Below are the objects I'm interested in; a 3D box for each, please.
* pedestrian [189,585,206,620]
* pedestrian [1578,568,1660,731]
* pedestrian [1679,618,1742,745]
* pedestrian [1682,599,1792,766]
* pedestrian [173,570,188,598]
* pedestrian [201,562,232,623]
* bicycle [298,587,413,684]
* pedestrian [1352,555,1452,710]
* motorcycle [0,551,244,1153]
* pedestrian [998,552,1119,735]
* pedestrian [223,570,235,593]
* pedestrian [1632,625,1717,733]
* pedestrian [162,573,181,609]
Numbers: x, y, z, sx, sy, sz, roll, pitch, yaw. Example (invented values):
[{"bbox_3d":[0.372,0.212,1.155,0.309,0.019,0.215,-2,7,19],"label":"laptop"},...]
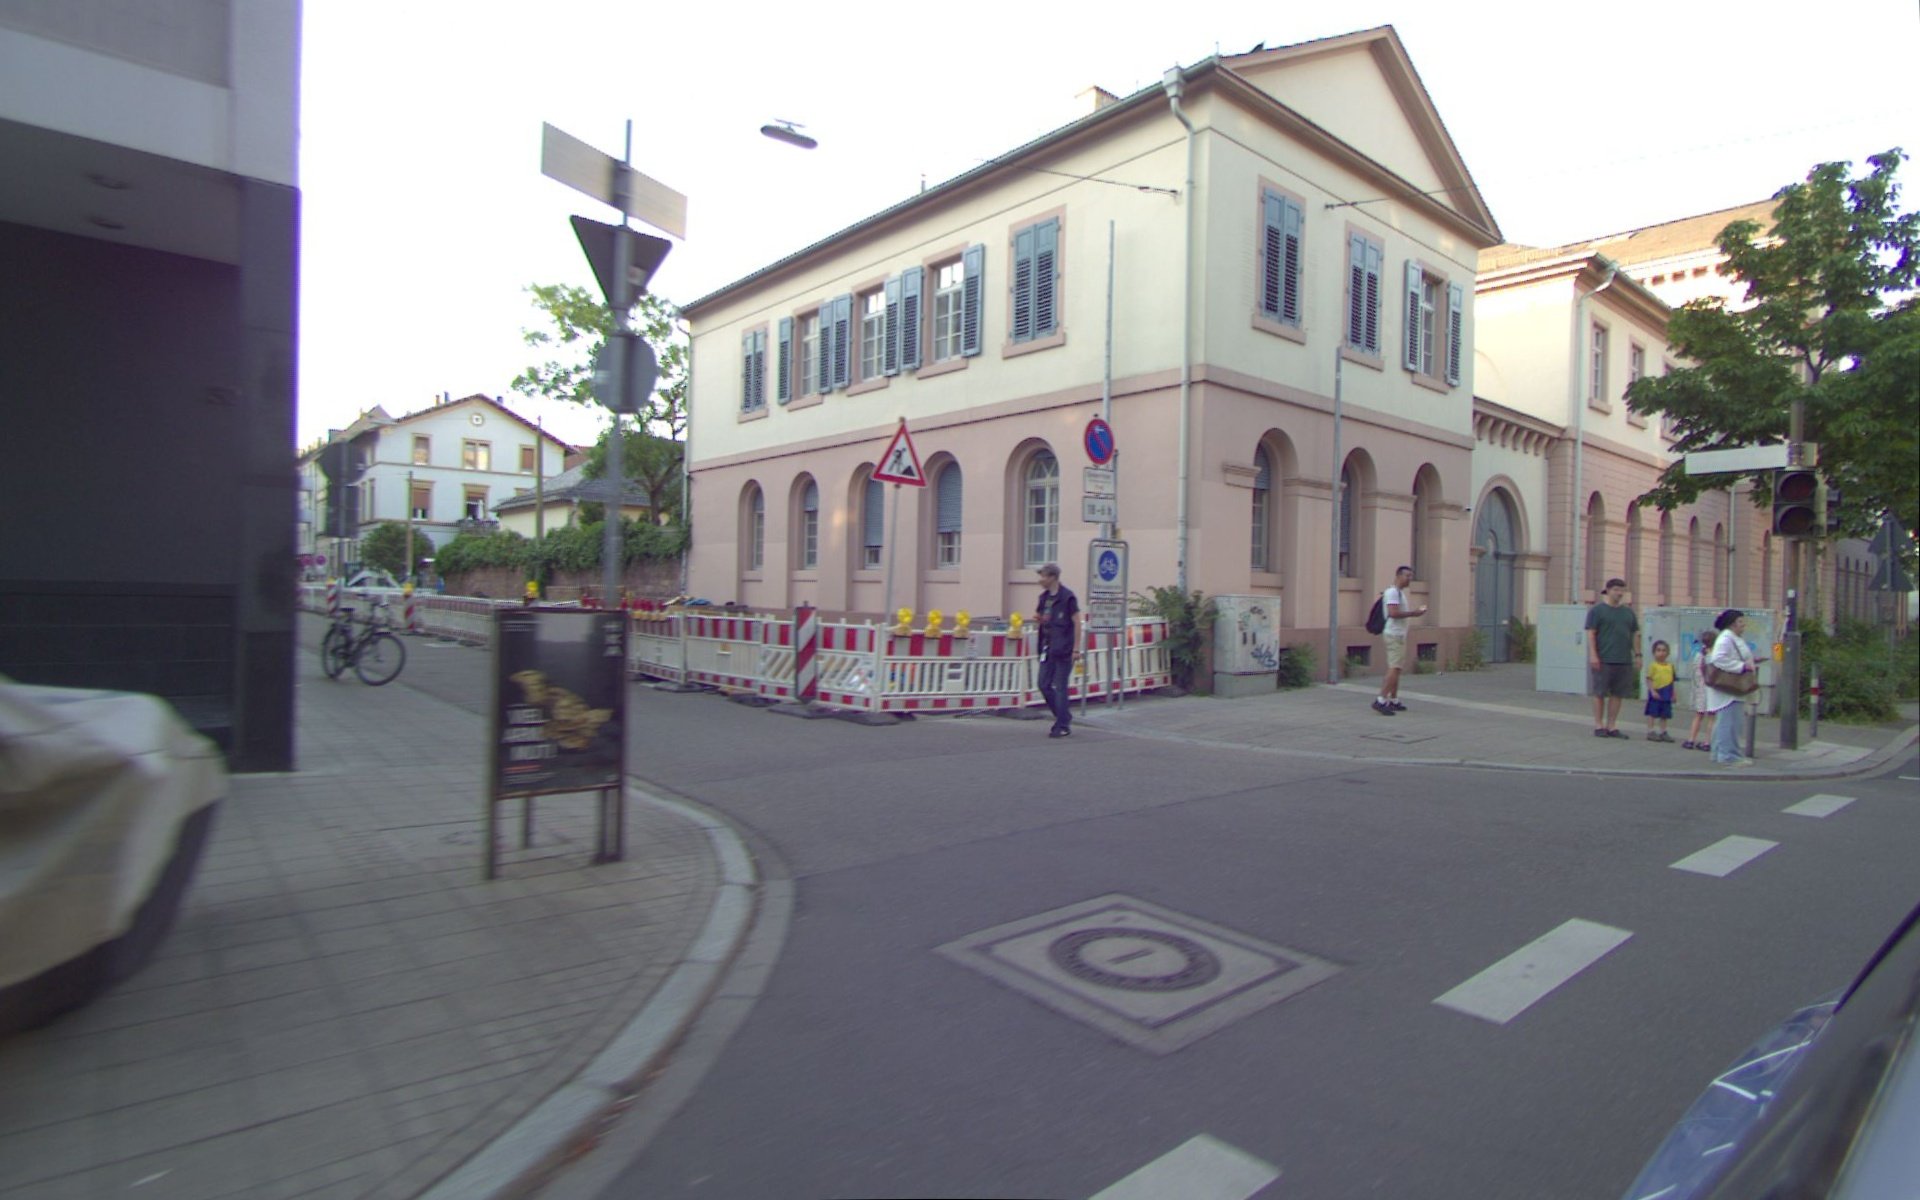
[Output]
[{"bbox_3d":[-37.757,0.121,50.117,0.638,1.674,0.649,1,0,-40],"label":"pedestrian"},{"bbox_3d":[7.569,0.551,11.623,0.565,1.796,0.545,1,2,-39],"label":"pedestrian"},{"bbox_3d":[8.023,0.854,10.815,0.449,1.277,0.483,4,2,40],"label":"pedestrian"},{"bbox_3d":[7.630,0.777,9.970,0.592,1.530,0.716,3,2,21],"label":"pedestrian"},{"bbox_3d":[-47.293,-0.975,61.403,0.638,1.674,0.649,1,0,-40],"label":"pedestrian"},{"bbox_3d":[-20.761,-0.201,28.251,0.638,1.674,0.649,1,0,-40],"label":"pedestrian"},{"bbox_3d":[-8.425,0.466,14.090,1.779,1.254,0.528,2,0,28],"label":"bicycle"},{"bbox_3d":[5.656,0.392,12.940,1.030,1.878,0.699,1,1,-39],"label":"pedestrian"},{"bbox_3d":[-2.954,0.557,3.076,0.979,1.409,1.917,1,1,-27],"label":"motorcycle"},{"bbox_3d":[1.042,0.427,10.674,1.046,1.818,0.699,1,0,-40],"label":"pedestrian"},{"bbox_3d":[-52.682,-1.338,72.934,0.638,1.674,0.649,1,0,-40],"label":"pedestrian"},{"bbox_3d":[8.159,0.894,11.573,0.535,1.159,0.493,3,2,-3],"label":"pedestrian"},{"bbox_3d":[-36.928,-0.404,47.404,0.638,1.674,0.649,1,0,-40],"label":"pedestrian"}]
